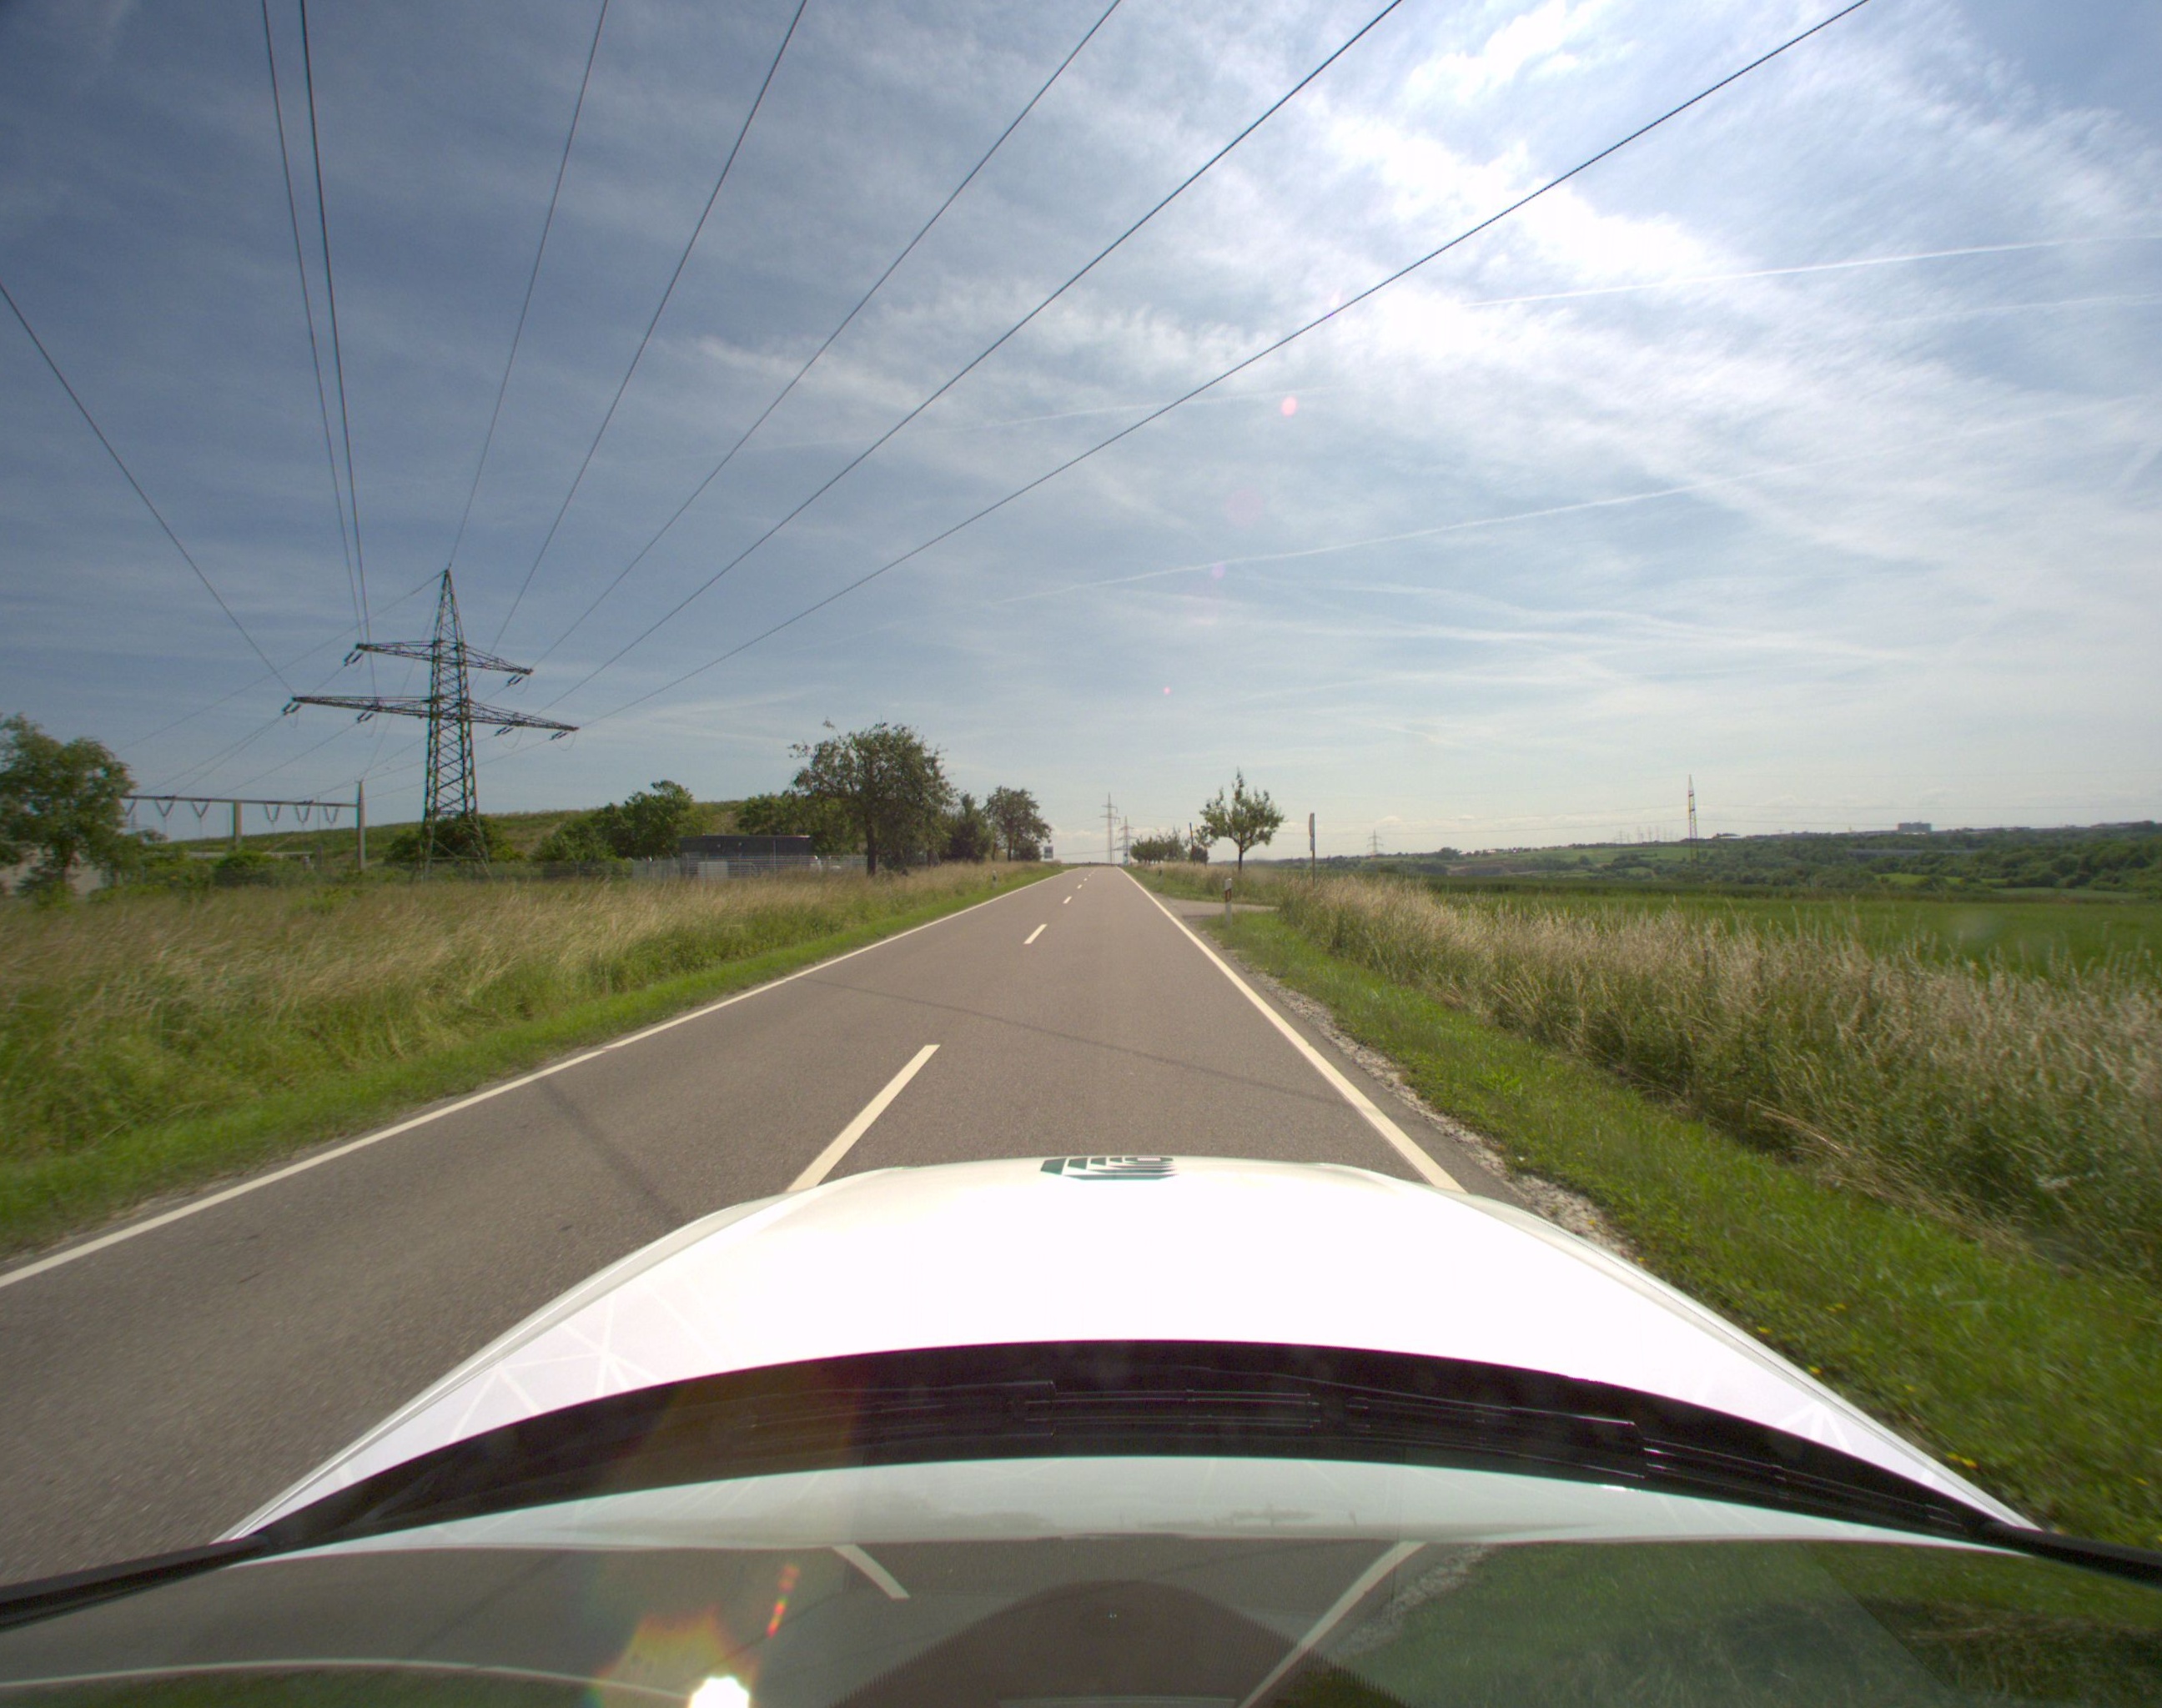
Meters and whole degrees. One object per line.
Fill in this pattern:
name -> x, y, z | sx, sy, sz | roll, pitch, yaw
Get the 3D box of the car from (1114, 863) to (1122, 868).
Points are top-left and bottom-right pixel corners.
car -> 9.695, 3.072, 214.625 | 1.812, 1.410, 4.009 | -1, 0, 8
